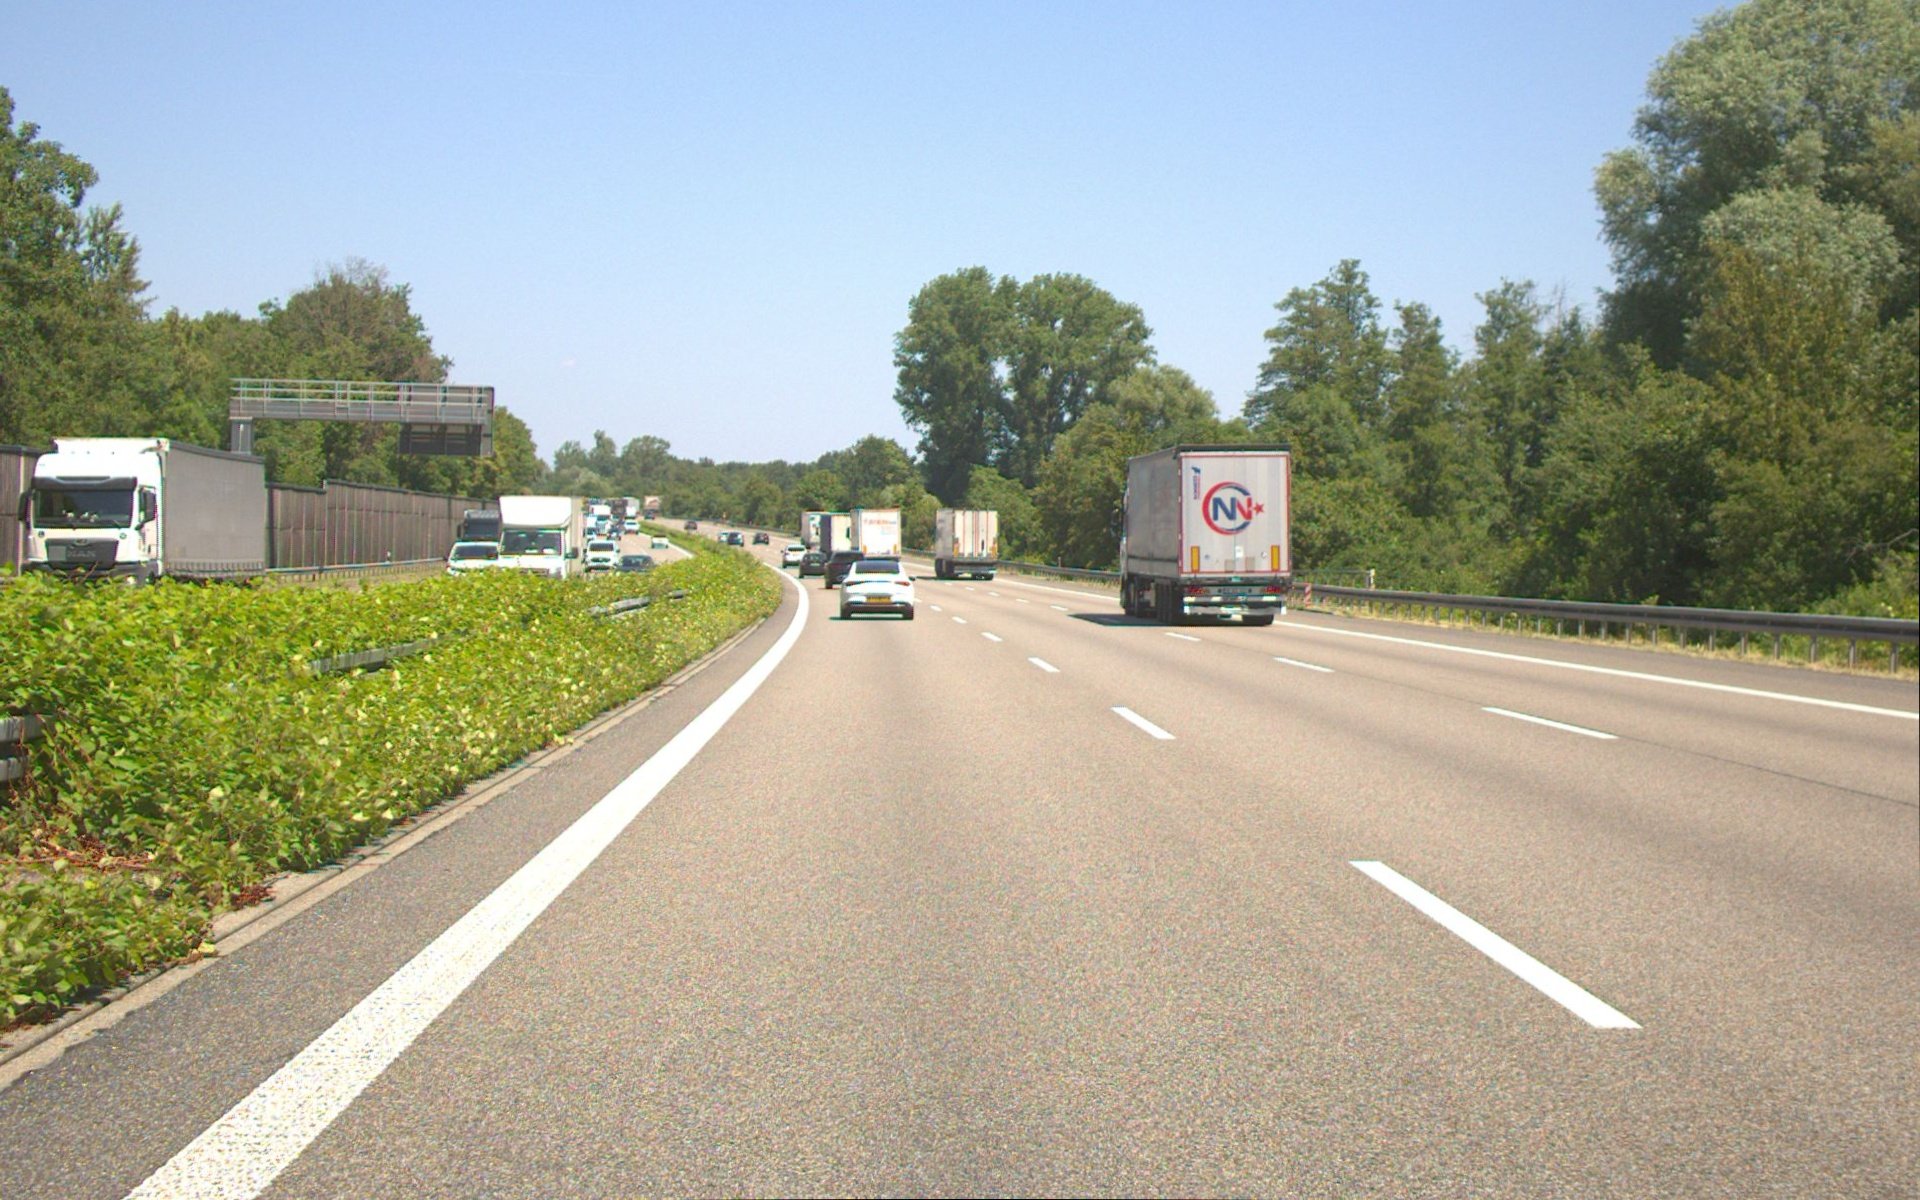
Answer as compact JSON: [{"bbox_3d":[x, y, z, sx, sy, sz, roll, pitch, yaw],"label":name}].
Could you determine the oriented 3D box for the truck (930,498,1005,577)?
[{"bbox_3d":[0.357,-3.545,194.400,3.492,4.296,10.990,1,1,-4],"label":"truck"}]

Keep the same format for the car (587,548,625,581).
[{"bbox_3d":[-22.001,-2.221,213.746,1.993,2.007,5.103,0,1,-2],"label":"car"}]

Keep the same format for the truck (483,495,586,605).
[{"bbox_3d":[-12.476,-1.483,101.277,2.193,3.104,8.535,1,1,-2],"label":"truck"}]

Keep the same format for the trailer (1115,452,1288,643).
[{"bbox_3d":[5.729,-1.284,84.090,2.624,4.246,14.062,1,1,-2],"label":"trailer"}]

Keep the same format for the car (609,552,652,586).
[{"bbox_3d":[-13.766,-1.300,143.707,1.625,1.385,3.914,0,1,-3],"label":"car"}]

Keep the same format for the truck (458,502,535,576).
[{"bbox_3d":[-23.339,-3.073,173.439,2.870,3.593,9.953,1,1,-2],"label":"truck"}]

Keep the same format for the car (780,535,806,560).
[{"bbox_3d":[-12.089,-3.796,248.381,1.723,1.776,4.001,0,1,-5],"label":"car"}]

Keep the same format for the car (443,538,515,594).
[{"bbox_3d":[-16.055,-1.158,114.881,1.867,1.814,4.817,0,1,-2],"label":"car"}]

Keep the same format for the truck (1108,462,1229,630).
[{"bbox_3d":[5.467,-1.424,90.773,2.605,4.272,5.436,1,1,-2],"label":"truck"}]

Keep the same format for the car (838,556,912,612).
[{"bbox_3d":[-2.112,-0.413,86.165,1.715,1.365,3.375,1,1,1],"label":"car"}]

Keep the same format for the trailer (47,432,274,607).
[{"bbox_3d":[-19.352,-1.923,84.173,2.729,3.896,13.763,1,1,-2],"label":"trailer"}]

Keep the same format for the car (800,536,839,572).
[{"bbox_3d":[-8.008,-2.604,195.564,1.993,2.007,4.001,0,1,-5],"label":"car"}]

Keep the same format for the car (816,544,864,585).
[{"bbox_3d":[-5.366,-1.606,153.147,1.993,1.766,4.001,0,1,-4],"label":"car"}]

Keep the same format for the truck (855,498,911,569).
[{"bbox_3d":[-4.873,-4.129,214.919,3.359,4.296,10.829,1,1,-2],"label":"truck"}]

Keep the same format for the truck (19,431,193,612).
[{"bbox_3d":[-19.122,-1.747,77.237,2.686,3.881,5.574,1,1,-2],"label":"truck"}]
